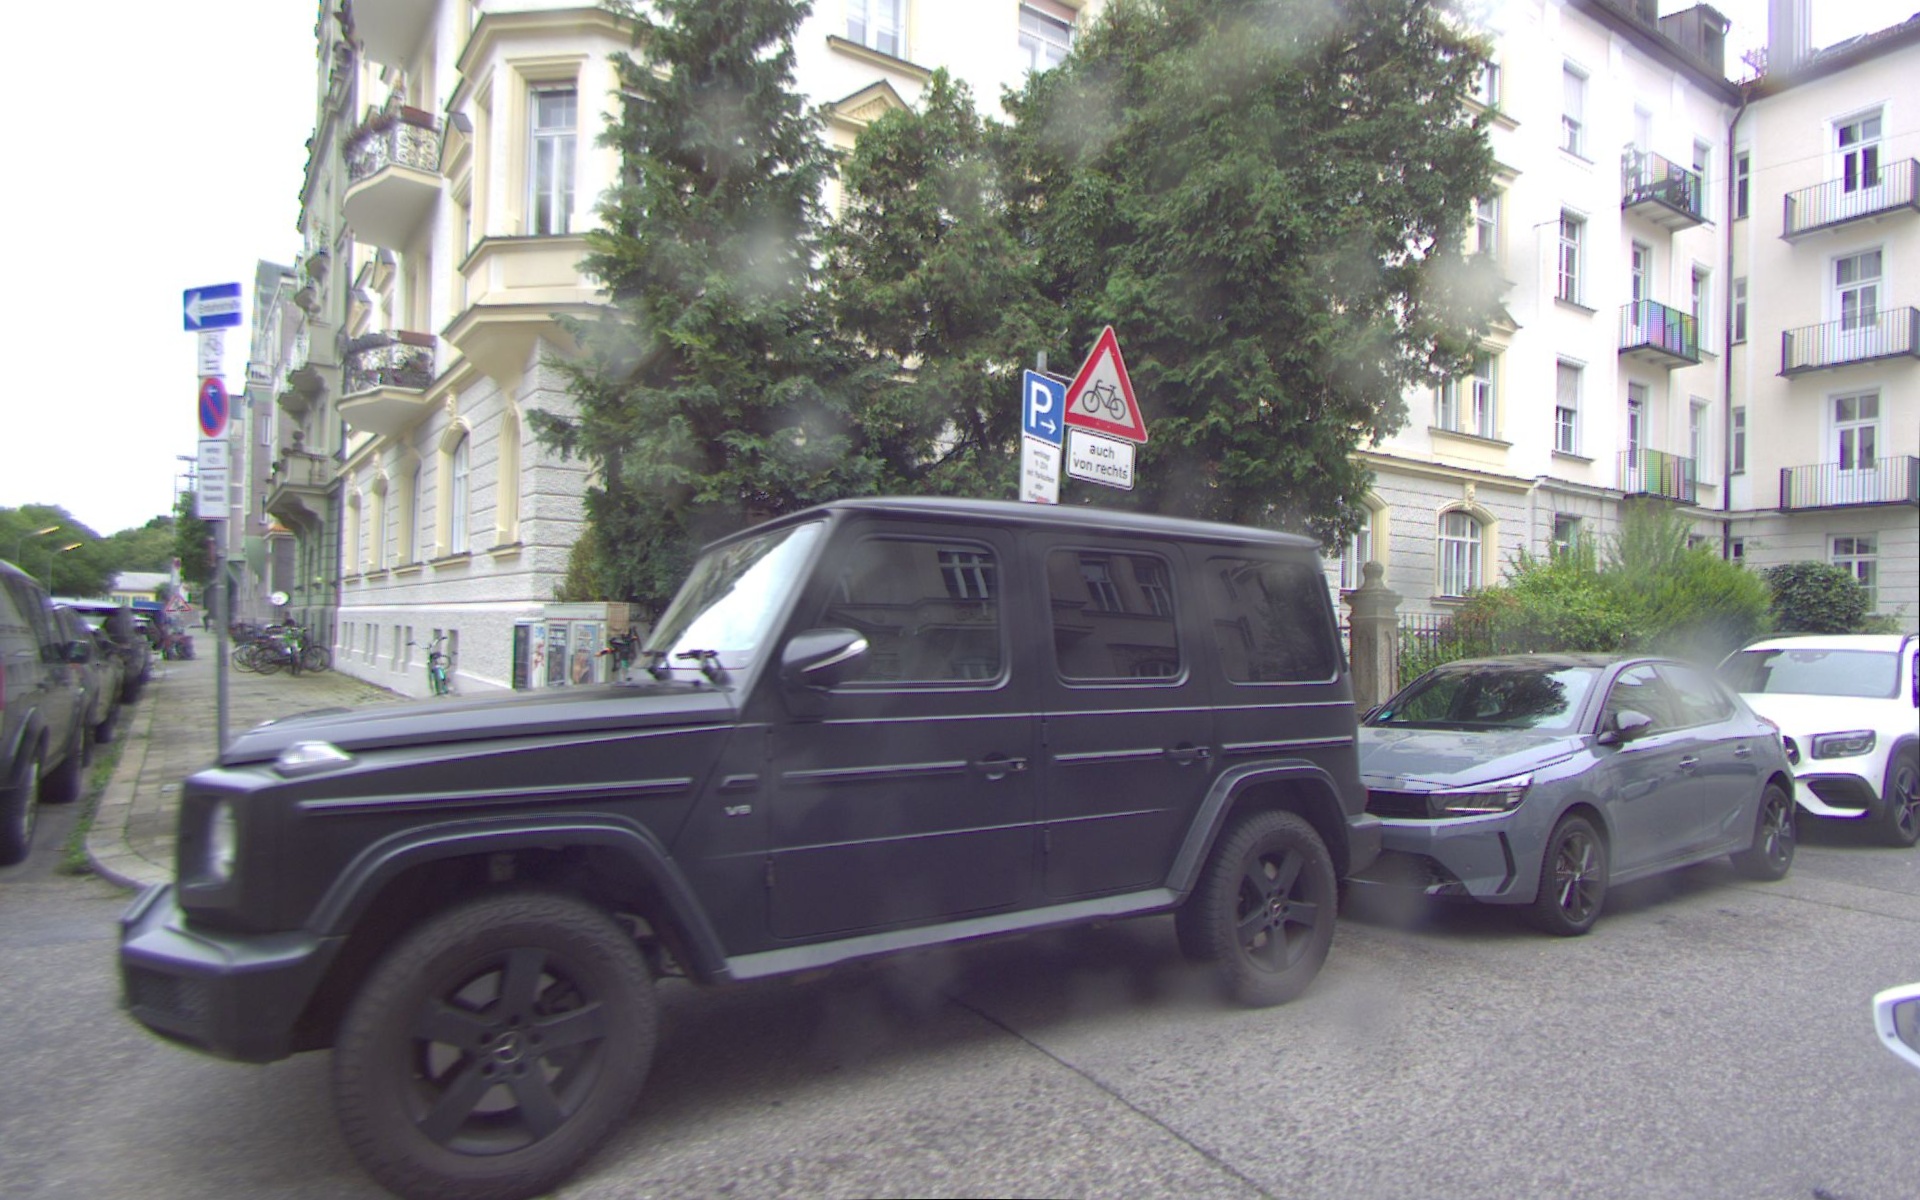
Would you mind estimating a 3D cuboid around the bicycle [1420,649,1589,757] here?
[{"bbox_3d":[6.998,1.271,12.866,2.500,1.276,0.693,2,-3,-30],"label":"bicycle"}]

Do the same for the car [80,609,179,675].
[{"bbox_3d":[-25.689,1.290,31.215,2.036,1.882,4.474,4,-3,-37],"label":"car"}]

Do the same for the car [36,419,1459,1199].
[{"bbox_3d":[-0.279,0.704,4.085,4.762,1.911,1.903,2,-3,-31],"label":"car"}]

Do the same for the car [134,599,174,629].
[{"bbox_3d":[-53.708,0.939,66.887,1.984,1.940,3.954,2,-2,-40],"label":"car"}]

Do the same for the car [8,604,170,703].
[{"bbox_3d":[-16.435,0.987,19.168,1.917,1.616,4.197,6,-4,-37],"label":"car"}]

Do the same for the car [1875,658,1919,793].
[{"bbox_3d":[12.248,1.436,11.461,3.958,1.439,1.758,3,-1,-33],"label":"car"}]

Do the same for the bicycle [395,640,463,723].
[{"bbox_3d":[-8.263,1.232,15.603,0.533,1.161,1.934,2,-2,-39],"label":"bicycle"}]

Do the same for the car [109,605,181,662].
[{"bbox_3d":[-30.857,1.256,38.132,1.866,2.040,3.959,2,-2,-36],"label":"car"}]

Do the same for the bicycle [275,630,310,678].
[{"bbox_3d":[-16.957,1.356,25.509,0.533,1.161,1.935,2,-2,-39],"label":"bicycle"}]

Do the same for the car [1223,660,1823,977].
[{"bbox_3d":[3.656,1.122,6.373,3.876,1.449,1.634,2,-5,-32],"label":"car"}]

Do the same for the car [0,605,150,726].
[{"bbox_3d":[-13.739,0.928,15.294,1.917,1.586,4.387,6,-4,-37],"label":"car"}]

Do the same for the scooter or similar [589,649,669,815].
[{"bbox_3d":[-2.796,1.050,8.426,0.453,1.195,1.423,-1,0,-25],"label":"scooter or similar"}]

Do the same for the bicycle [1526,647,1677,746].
[{"bbox_3d":[9.173,1.337,14.328,2.500,1.314,0.752,2,-3,-30],"label":"bicycle"}]

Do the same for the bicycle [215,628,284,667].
[{"bbox_3d":[-21.673,1.448,30.652,1.641,1.142,0.711,2,-2,-40],"label":"bicycle"}]

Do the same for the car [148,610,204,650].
[{"bbox_3d":[-38.166,1.442,48.947,2.037,1.882,4.472,1,-2,-38],"label":"car"}]

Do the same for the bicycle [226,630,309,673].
[{"bbox_3d":[-19.274,1.421,27.966,1.834,1.161,0.531,2,-2,-43],"label":"bicycle"}]

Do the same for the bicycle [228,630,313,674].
[{"bbox_3d":[-18.883,1.426,27.530,1.834,1.161,0.531,2,-2,-43],"label":"bicycle"}]

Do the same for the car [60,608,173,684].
[{"bbox_3d":[-22.960,1.243,27.509,2.036,1.882,4.474,4,-3,-37],"label":"car"}]

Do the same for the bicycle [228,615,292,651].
[{"bbox_3d":[-22.863,1.067,32.796,1.641,1.142,0.711,2,-2,-40],"label":"bicycle"}]

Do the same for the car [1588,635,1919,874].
[{"bbox_3d":[7.737,1.181,9.000,4.435,1.669,1.797,2,-3,-32],"label":"car"}]

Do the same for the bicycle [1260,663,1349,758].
[{"bbox_3d":[4.437,1.404,12.986,0.388,1.118,1.134,1,-1,-27],"label":"bicycle"}]

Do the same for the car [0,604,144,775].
[{"bbox_3d":[-10.425,0.860,11.090,1.917,1.586,4.474,5,-4,-37],"label":"car"}]

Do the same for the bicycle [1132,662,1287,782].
[{"bbox_3d":[2.609,1.225,10.406,1.746,1.111,0.486,1,-1,-33],"label":"bicycle"}]

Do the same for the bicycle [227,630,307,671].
[{"bbox_3d":[-20.399,1.473,29.586,1.834,1.161,0.655,2,-2,-43],"label":"bicycle"}]

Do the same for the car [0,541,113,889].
[{"bbox_3d":[-7.190,0.629,6.713,2.036,1.882,4.474,2,-2,-37],"label":"car"}]
